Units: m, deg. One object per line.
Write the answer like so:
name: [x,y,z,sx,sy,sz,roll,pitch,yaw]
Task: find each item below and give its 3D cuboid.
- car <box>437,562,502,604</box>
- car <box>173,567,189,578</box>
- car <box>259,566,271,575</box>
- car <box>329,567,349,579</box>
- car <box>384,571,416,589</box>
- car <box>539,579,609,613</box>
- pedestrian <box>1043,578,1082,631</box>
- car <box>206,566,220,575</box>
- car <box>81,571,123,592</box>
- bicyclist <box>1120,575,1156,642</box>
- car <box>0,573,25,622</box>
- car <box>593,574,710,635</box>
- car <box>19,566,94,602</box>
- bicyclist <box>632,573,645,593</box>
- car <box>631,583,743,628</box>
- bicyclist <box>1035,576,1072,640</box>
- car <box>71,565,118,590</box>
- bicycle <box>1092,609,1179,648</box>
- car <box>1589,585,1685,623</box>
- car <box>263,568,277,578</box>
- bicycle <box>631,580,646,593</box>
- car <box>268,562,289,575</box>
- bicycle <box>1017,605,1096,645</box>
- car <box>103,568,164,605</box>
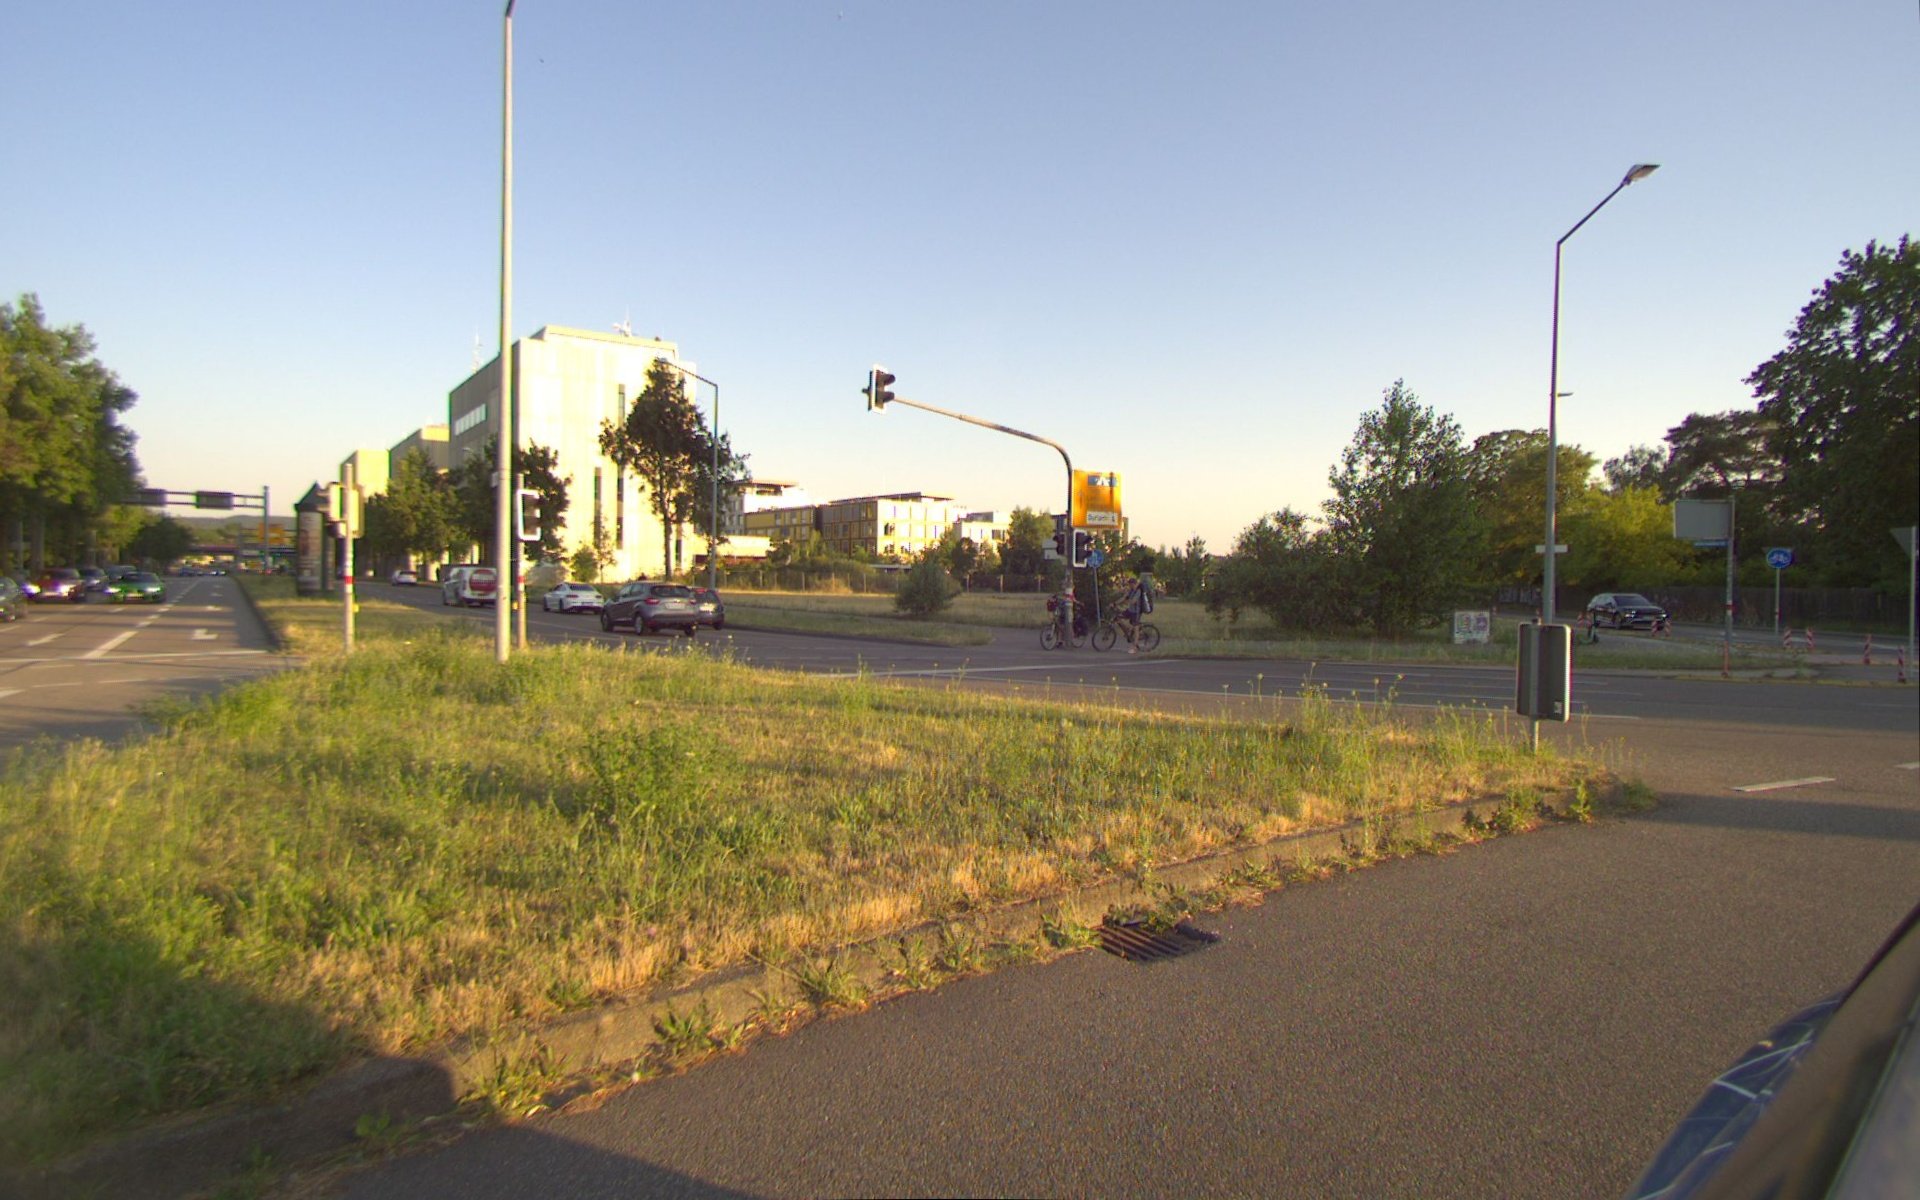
car: [-24.206,-0.845,49.849,2.029,1.971,4.960,0,1,-36]
car: [-120.722,-4.238,156.864,1.880,1.603,4.179,0,1,-37]
car: [-147.135,-6.273,214.191,1.962,1.805,4.001,0,1,-35]
car: [-82.846,-3.610,135.049,1.959,1.593,4.006,0,1,-27]
car: [-50.669,-1.834,91.519,1.962,1.528,5.186,0,1,-35]
car: [-17.673,-0.223,46.249,1.962,1.425,4.527,0,1,-35]
pedestrian: [3.232,0.127,31.813,0.981,1.610,0.919,1,1,25]
car: [-134.412,-5.367,182.072,1.963,1.524,4.771,0,1,-36]
car: [-59.171,-1.308,69.865,1.832,1.407,4.163,0,1,-35]
bicyclist: [4.612,0.211,26.260,0.674,1.711,0.727,1,1,-13]
car: [-31.582,-0.101,32.525,1.853,1.482,4.668,-2,2,-38]
car: [-9.203,0.086,30.035,1.964,1.649,3.996,0,1,-39]
car: [-42.119,-0.754,47.275,1.961,1.593,4.418,0,1,-33]
bicyclist: [-20.867,-1.090,65.616,0.606,1.272,0.735,0,1,-34]
car: [-9.628,0.146,35.588,4.186,1.445,1.968,2,1,44]
bicyclist: [2.526,0.209,27.326,0.675,1.711,0.726,0,1,-29]
car: [-51.850,-1.349,60.682,1.833,1.407,4.161,0,1,-37]
bicycle: [4.539,0.733,26.239,2.100,0.975,0.711,1,1,-15]
car: [31.162,0.160,46.731,1.967,1.617,4.304,1,1,8]
car: [-125.064,-4.937,183.455,1.962,1.805,4.001,0,1,-35]
bicycle: [-20.880,-0.858,65.637,0.487,0.837,1.515,0,1,-35]
car: [-83.002,-3.823,123.243,1.963,1.524,4.111,0,1,-36]
bicycle: [2.612,0.660,27.344,2.065,0.975,0.711,-2,2,-27]
car: [-38.256,-0.638,46.790,1.966,1.599,4.478,2,0,-42]
